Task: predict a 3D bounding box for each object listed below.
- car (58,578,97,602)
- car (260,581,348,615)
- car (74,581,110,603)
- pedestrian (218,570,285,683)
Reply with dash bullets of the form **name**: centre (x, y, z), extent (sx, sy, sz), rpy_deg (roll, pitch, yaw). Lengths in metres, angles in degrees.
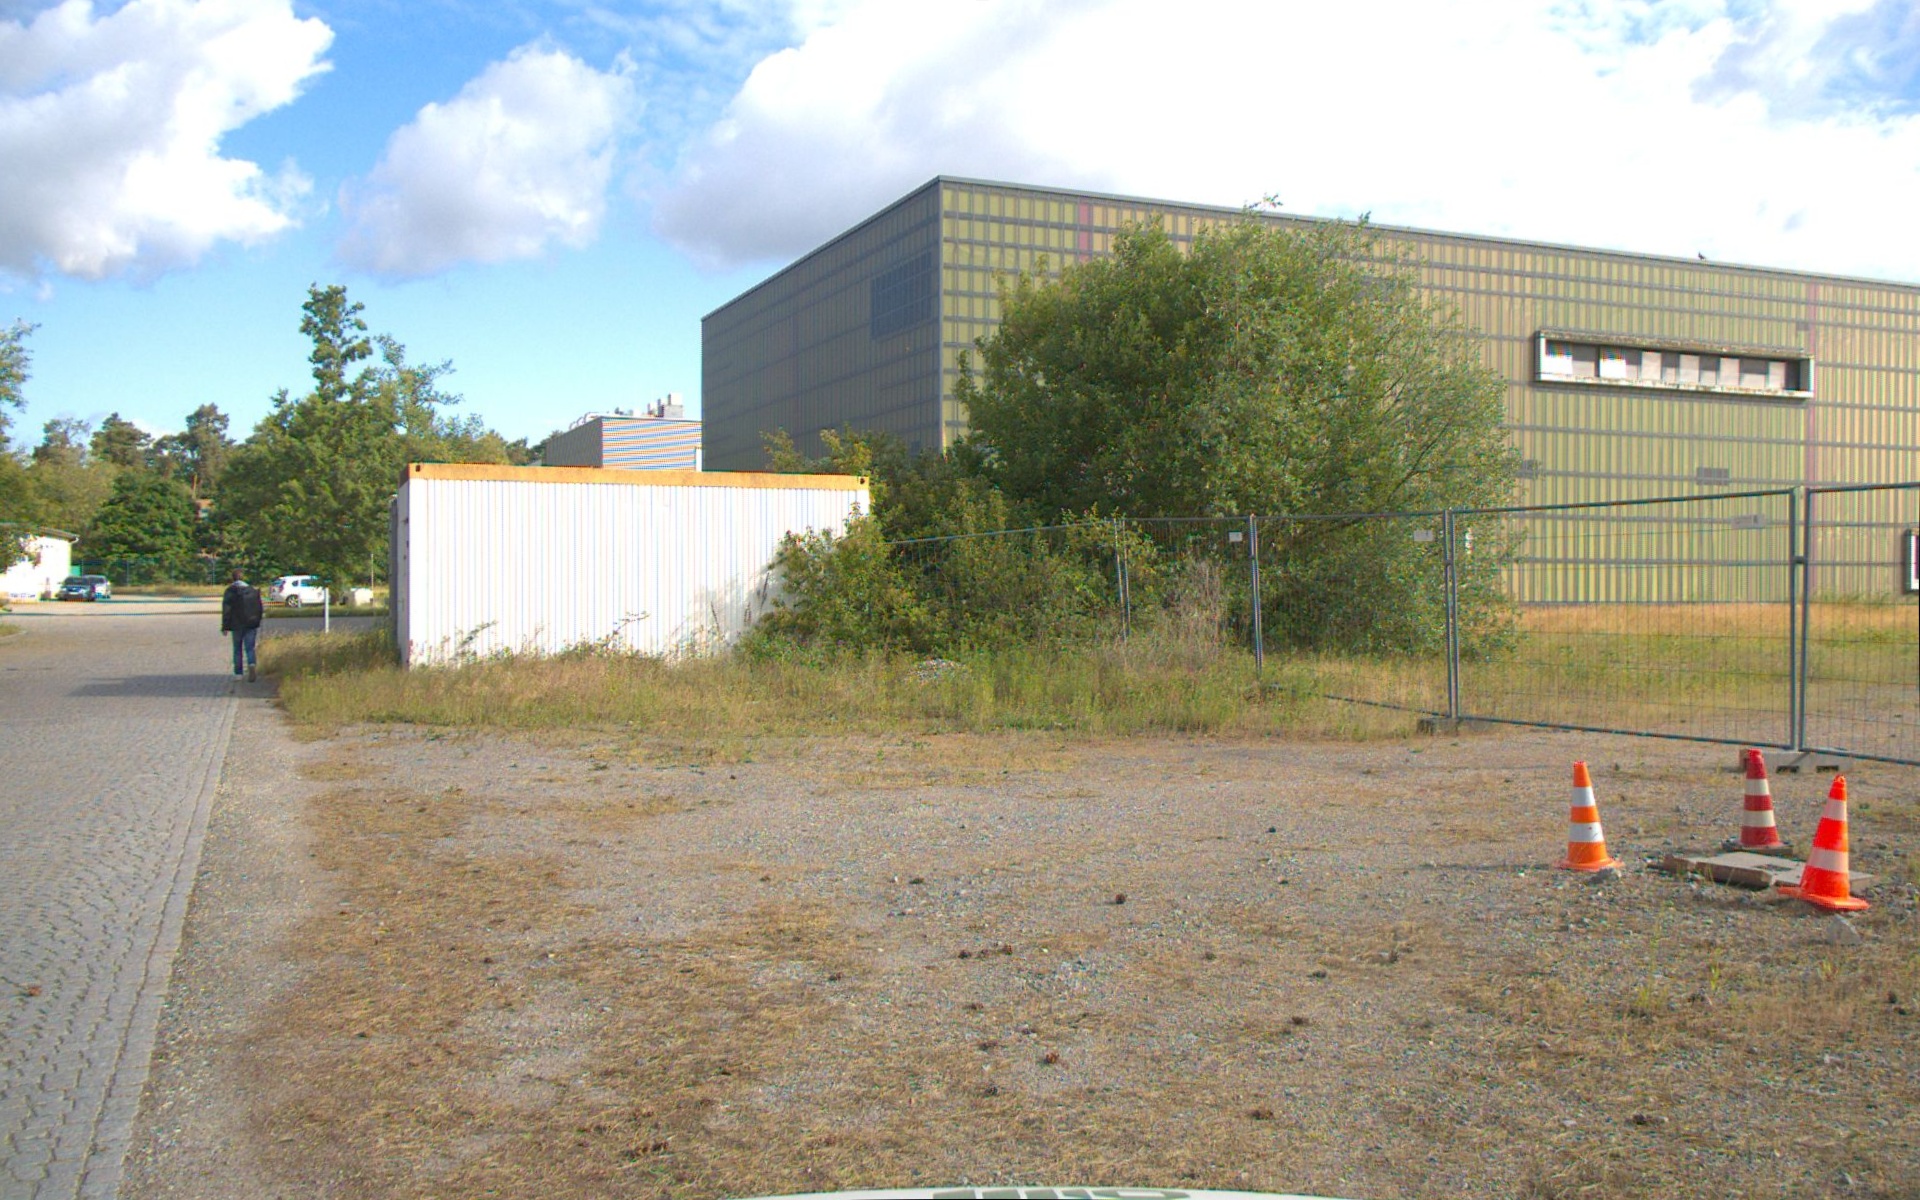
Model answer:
- **car**: centre (-52.577, -0.621, 98.491), extent (1.972, 1.395, 3.961), rpy_deg (0, 1, -29)
- **car**: centre (-32.257, -0.117, 81.444), extent (3.926, 1.671, 1.990), rpy_deg (0, 1, -19)
- **car**: centre (-56.622, -0.557, 107.860), extent (1.972, 1.400, 3.961), rpy_deg (0, 1, -29)
- **pedestrian**: centre (-10.245, 0.368, 23.907), extent (0.854, 1.586, 1.020), rpy_deg (0, 0, -25)
